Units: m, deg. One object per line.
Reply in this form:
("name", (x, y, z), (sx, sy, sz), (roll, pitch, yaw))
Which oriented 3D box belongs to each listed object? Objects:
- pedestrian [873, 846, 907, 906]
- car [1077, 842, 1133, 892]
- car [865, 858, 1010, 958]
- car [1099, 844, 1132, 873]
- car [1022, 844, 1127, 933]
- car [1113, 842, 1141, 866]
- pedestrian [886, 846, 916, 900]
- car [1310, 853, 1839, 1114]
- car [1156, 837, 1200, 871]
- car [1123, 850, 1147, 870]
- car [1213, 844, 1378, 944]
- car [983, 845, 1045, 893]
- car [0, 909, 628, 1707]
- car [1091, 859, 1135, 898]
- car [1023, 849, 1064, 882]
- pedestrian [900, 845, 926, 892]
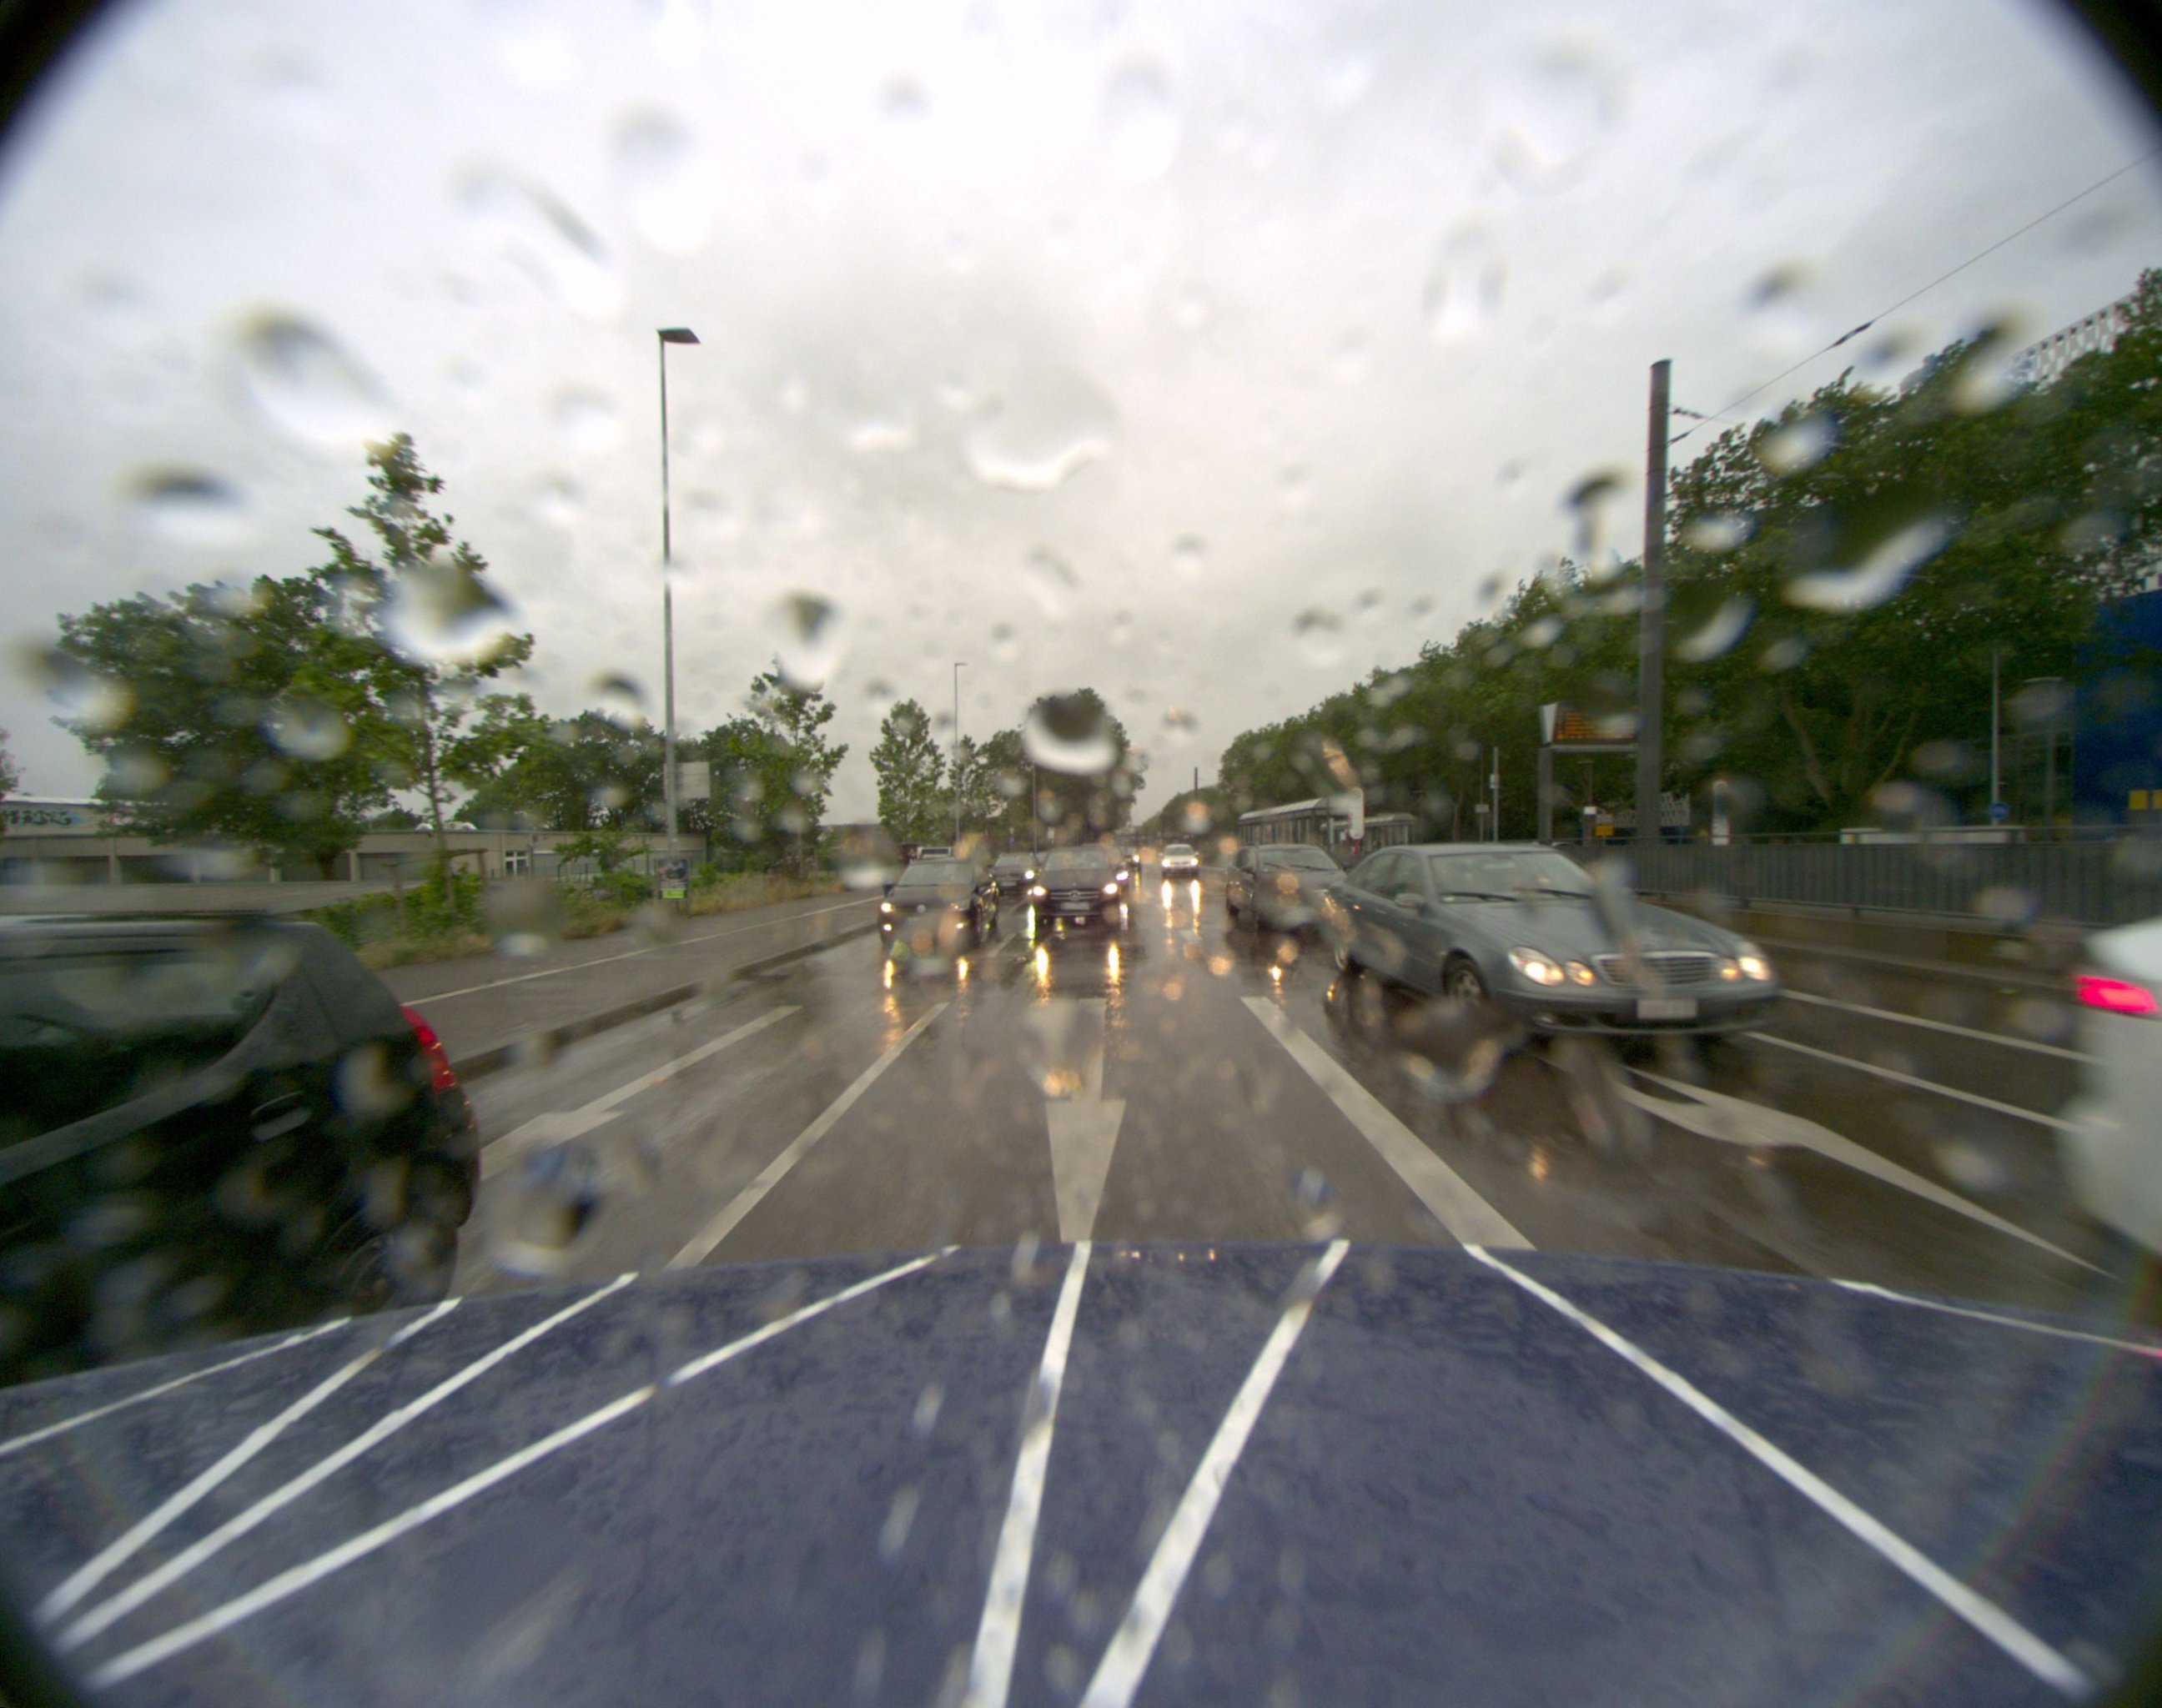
("pedestrian", (-5.198, 0.583, 20.718), (0.734, 1.602, 0.618), (0, 2, 1))
("car", (0.801, 0.424, 26.241), (1.715, 1.515, 4.043), (-2, 0, 1))
("car", (-2.406, 0.854, 13.756), (1.715, 1.476, 4.043), (-2, 0, 1))
("car", (1.897, 0.256, 42.615), (1.715, 1.515, 4.043), (-2, 0, 1))
("car", (-0.107, 0.650, 16.110), (1.876, 1.573, 4.043), (-2, 0, 0))
("car", (3.118, 0.024, 52.142), (1.715, 1.515, 4.043), (-2, 0, 1))
("pedestrian", (-5.391, 0.551, 22.795), (0.734, 1.602, 0.576), (0, 2, 1))
("car", (3.542, 0.750, 6.719), (1.715, 1.405, 4.697), (-2, 0, 2))
("car", (4.796, 0.010, 38.084), (1.715, 1.515, 4.043), (-2, 0, 1))
("car", (4.364, 0.523, 61.911), (1.715, 1.515, 4.043), (-2, 0, 1))
("car", (3.727, 0.601, 14.082), (1.752, 1.466, 4.697), (-2, 0, 1))
("car", (-2.297, 0.520, 26.982), (1.715, 1.515, 4.043), (-2, 0, 1))
("car", (-2.852, 0.973, 1.097), (1.776, 1.453, 4.093), (-2, 0, 2))
("car", (1.340, 1.021, 32.887), (1.715, 1.515, 4.043), (-2, 0, 1))
("car", (-1.837, 0.547, 38.389), (1.715, 1.515, 4.178), (-2, 0, 1))
("pedestrian", (-5.824, 0.502, 26.370), (0.734, 1.602, 0.650), (0, 2, 1))
